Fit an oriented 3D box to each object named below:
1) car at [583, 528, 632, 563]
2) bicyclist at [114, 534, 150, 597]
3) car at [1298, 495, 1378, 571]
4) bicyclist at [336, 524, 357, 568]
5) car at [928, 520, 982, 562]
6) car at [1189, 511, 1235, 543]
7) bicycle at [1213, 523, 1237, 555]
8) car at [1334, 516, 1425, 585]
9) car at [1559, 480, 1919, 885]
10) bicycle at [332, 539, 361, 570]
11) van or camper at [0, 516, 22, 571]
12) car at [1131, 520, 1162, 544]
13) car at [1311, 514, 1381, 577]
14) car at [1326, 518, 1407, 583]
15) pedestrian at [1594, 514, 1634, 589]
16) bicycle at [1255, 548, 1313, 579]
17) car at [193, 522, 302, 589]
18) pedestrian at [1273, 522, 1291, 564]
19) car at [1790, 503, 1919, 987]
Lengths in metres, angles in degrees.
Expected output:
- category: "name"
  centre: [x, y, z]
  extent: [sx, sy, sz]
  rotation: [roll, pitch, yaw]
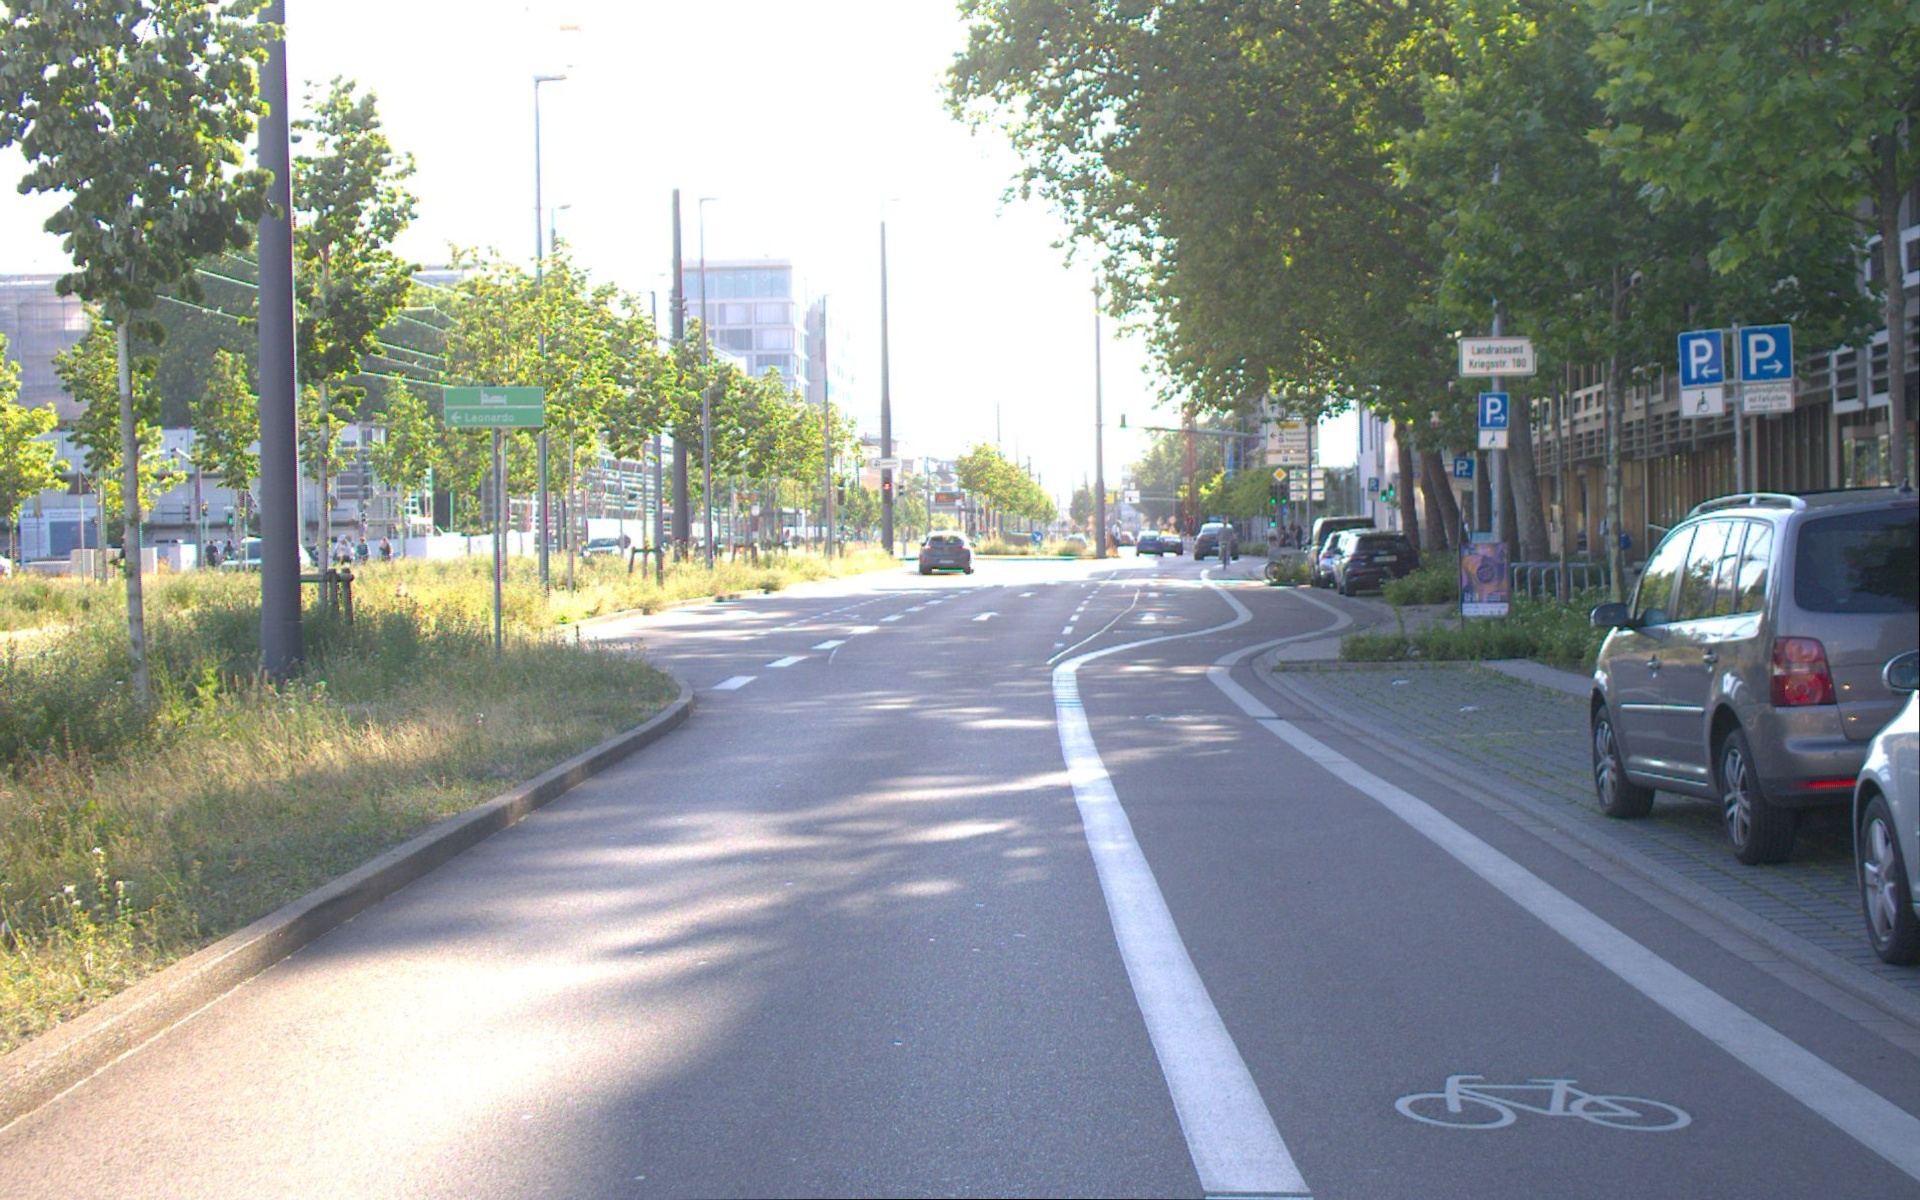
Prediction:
- category: "car"
  centre: [-18.809, -2.919, 183.625]
  extent: [1.994, 1.770, 4.000]
  rotation: [-1, 1, 3]
- category: "bicyclist"
  centre: [-22.566, -0.941, 93.708]
  extent: [0.687, 1.702, 0.954]
  rotation: [-1, 1, 3]
- category: "car"
  centre: [10.537, -1.891, 96.162]
  extent: [1.829, 1.964, 5.321]
  rotation: [-3, 1, 3]
- category: "bicyclist"
  centre: [-21.009, -1.842, 117.714]
  extent: [0.557, 1.502, 0.668]
  rotation: [-1, 1, 3]
- category: "car"
  centre: [-0.162, -2.056, 118.901]
  extent: [1.777, 1.423, 4.000]
  rotation: [0, 1, 1]
- category: "car"
  centre: [11.887, -3.449, 162.228]
  extent: [1.940, 1.423, 3.926]
  rotation: [-1, 1, 1]
- category: "bicycle"
  centre: [10.201, -2.346, 132.352]
  extent: [0.800, 1.200, 2.263]
  rotation: [0, 1, 7]
- category: "car"
  centre: [9.460, -1.146, 77.821]
  extent: [1.706, 1.413, 4.276]
  rotation: [-3, 1, 3]
- category: "car"
  centre: [4.259, 0.278, 16.940]
  extent: [1.728, 1.682, 4.515]
  rotation: [-3, 1, 0]
- category: "bicycle"
  centre: [-21.006, -1.560, 117.724]
  extent: [0.559, 1.056, 1.898]
  rotation: [-1, 1, 3]
- category: "van or camper"
  centre: [-44.830, -2.476, 152.757]
  extent: [5.661, 2.406, 2.155]
  rotation: [-1, 1, 5]
- category: "car"
  centre: [11.678, -4.269, 215.190]
  extent: [1.759, 1.479, 3.850]
  rotation: [-1, 1, 1]
- category: "car"
  centre: [10.123, -1.444, 89.955]
  extent: [1.682, 1.509, 5.058]
  rotation: [-3, 1, 7]
- category: "car"
  centre: [9.936, -1.226, 84.290]
  extent: [1.682, 1.473, 3.874]
  rotation: [-3, 1, 3]
- category: "pedestrian"
  centre: [16.292, -1.218, 85.669]
  extent: [0.831, 1.850, 0.847]
  rotation: [-1, 1, 2]
- category: "bicycle"
  centre: [9.844, -1.110, 104.409]
  extent: [1.693, 0.864, 0.572]
  rotation: [-2, 1, 12]
- category: "car"
  centre: [-19.743, -1.263, 95.487]
  extent: [1.871, 1.759, 4.813]
  rotation: [-1, 1, 2]
- category: "pedestrian"
  centre: [12.446, -2.215, 132.855]
  extent: [0.634, 1.602, 0.570]
  rotation: [-3, 1, 4]
- category: "car"
  centre: [4.075, 0.476, 11.004]
  extent: [1.728, 1.616, 4.216]
  rotation: [-3, 1, 0]
